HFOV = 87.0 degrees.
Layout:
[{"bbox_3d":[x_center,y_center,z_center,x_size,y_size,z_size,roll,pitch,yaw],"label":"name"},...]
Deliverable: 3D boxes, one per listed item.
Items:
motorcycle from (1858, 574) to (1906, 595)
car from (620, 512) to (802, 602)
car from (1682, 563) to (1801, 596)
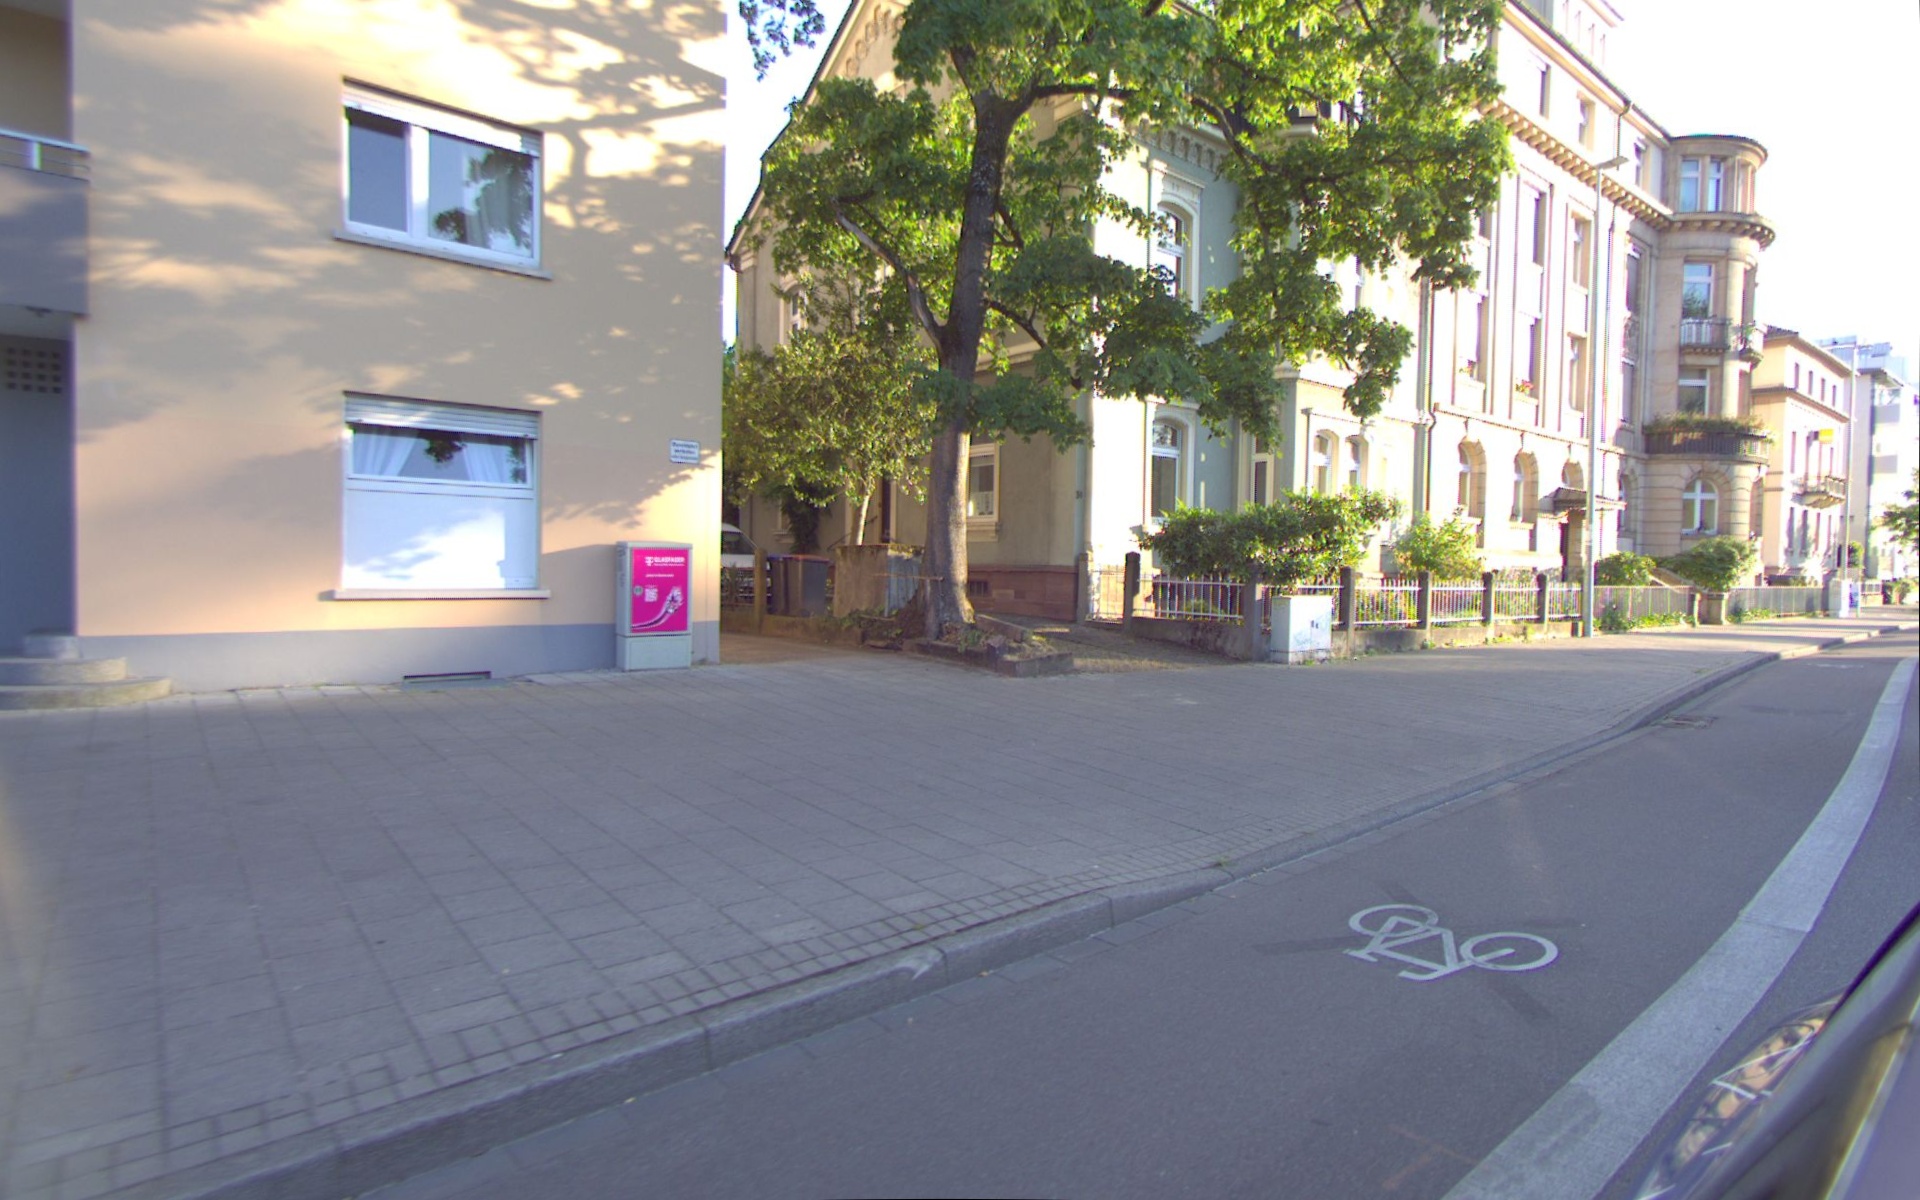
[{"bbox_3d":[50.926,-0.854,55.904,0.564,1.110,1.851,0,2,-34],"label":"motorcycle"},{"bbox_3d":[-5.587,-0.991,22.351,1.796,1.778,4.512,0,4,-45],"label":"car"},{"bbox_3d":[36.776,-0.982,47.699,1.904,1.499,4.097,-1,2,-39],"label":"car"}]
